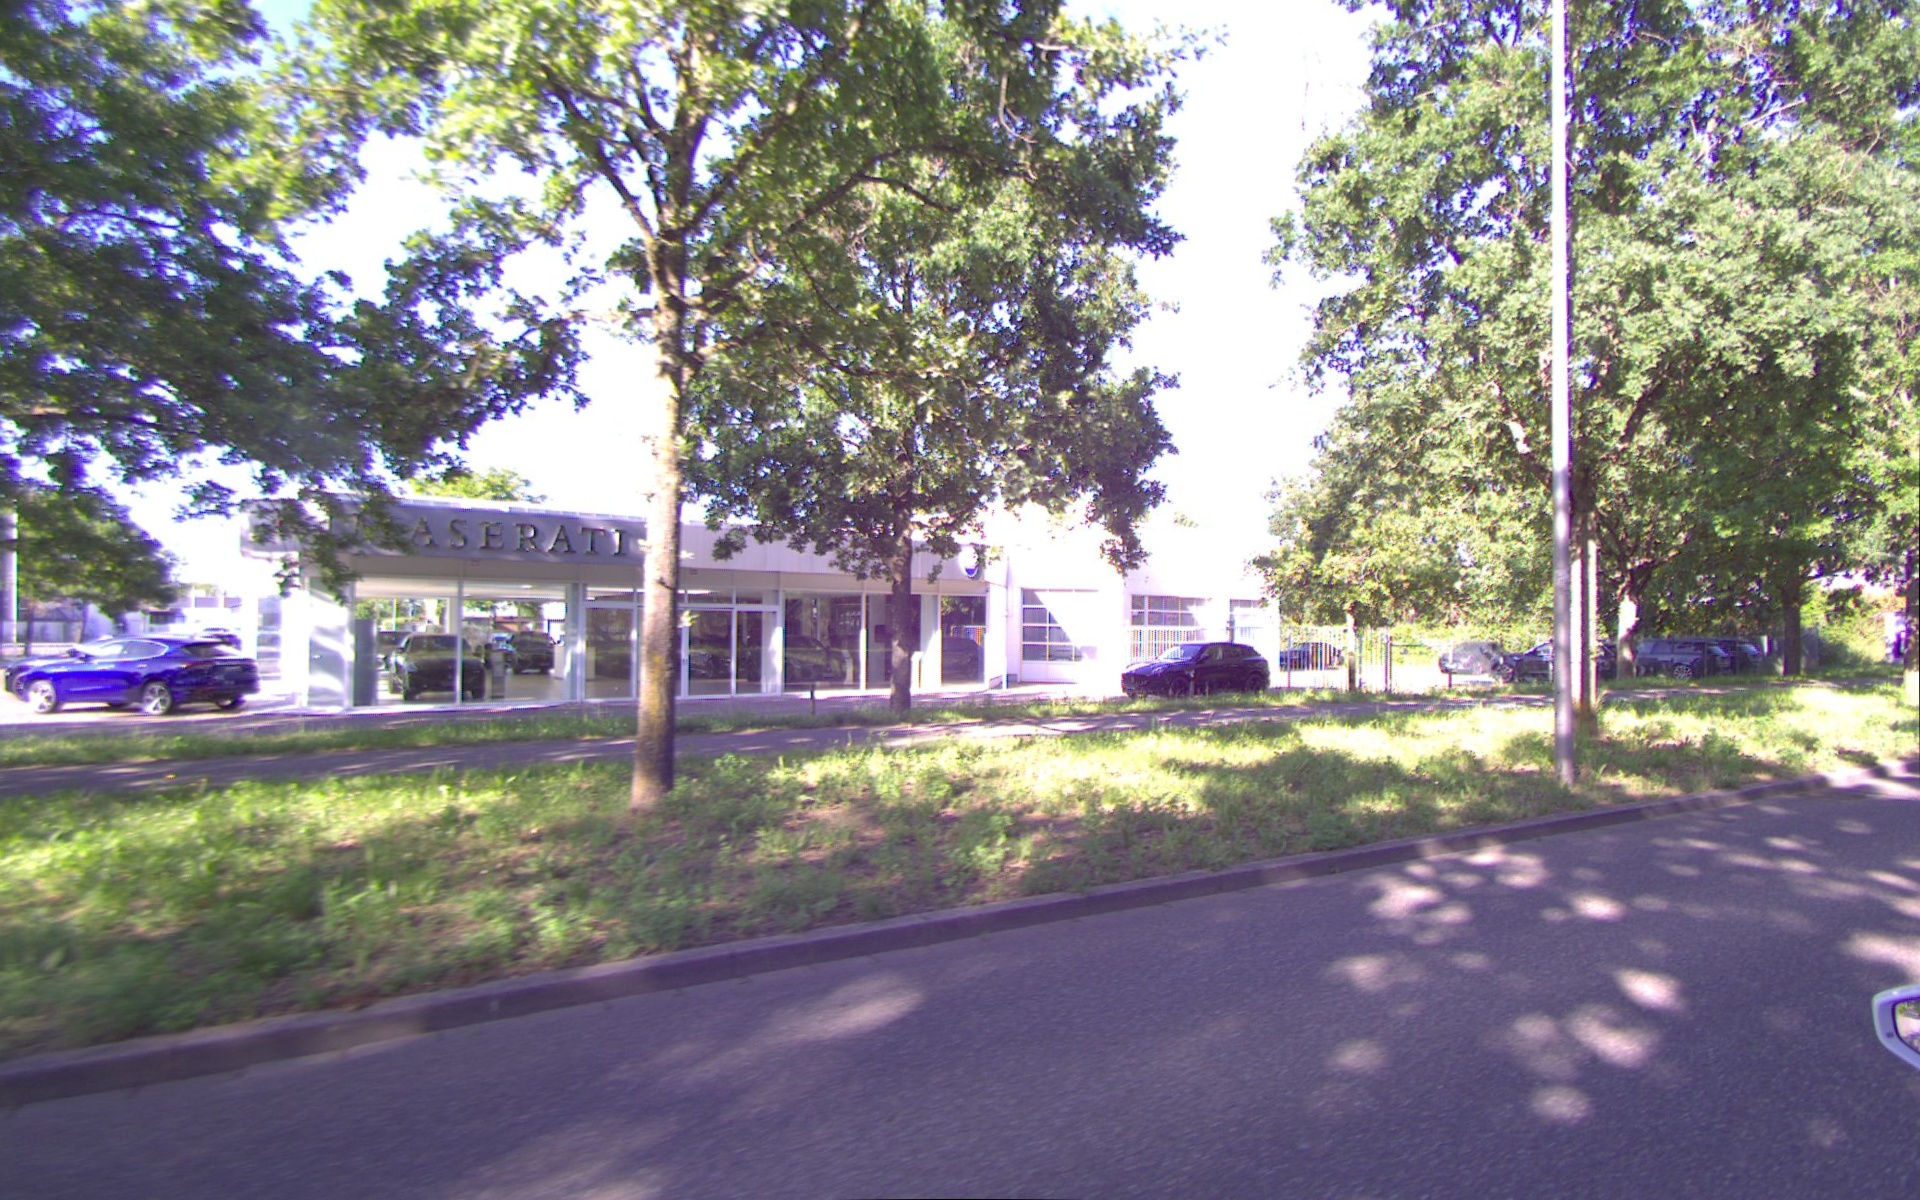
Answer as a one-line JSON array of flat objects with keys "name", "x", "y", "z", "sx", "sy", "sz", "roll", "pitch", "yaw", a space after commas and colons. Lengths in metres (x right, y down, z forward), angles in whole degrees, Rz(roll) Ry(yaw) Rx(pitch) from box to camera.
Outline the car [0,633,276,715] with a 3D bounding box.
[{"name": "car", "x": -18.548, "y": 1.613, "z": 22.719, "sx": 5.153, "sy": 1.683, "sz": 2.001, "roll": 0, "pitch": 0, "yaw": 10}]

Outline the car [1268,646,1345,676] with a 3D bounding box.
[{"name": "car", "x": 20.924, "y": 3.645, "z": 60.625, "sx": 4.839, "sy": 1.587, "sz": 1.979, "roll": 2, "pitch": 0, "yaw": -36}]

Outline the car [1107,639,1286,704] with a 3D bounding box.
[{"name": "car", "x": 6.733, "y": 1.967, "z": 28.465, "sx": 4.957, "sy": 1.619, "sz": 1.983, "roll": 2, "pitch": 0, "yaw": -31}]

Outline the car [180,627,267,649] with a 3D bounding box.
[{"name": "car", "x": -59.422, "y": 3.027, "z": 81.158, "sx": 5.359, "sy": 1.683, "sz": 1.987, "roll": 1, "pitch": 0, "yaw": -26}]

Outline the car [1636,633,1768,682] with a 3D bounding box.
[{"name": "car", "x": 31.939, "y": 2.444, "z": 43.324, "sx": 1.980, "sy": 1.825, "sz": 4.163, "roll": 1, "pitch": 0, "yaw": -34}]

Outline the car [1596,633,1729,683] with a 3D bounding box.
[{"name": "car", "x": 29.379, "y": 2.394, "z": 42.123, "sx": 1.980, "sy": 1.825, "sz": 4.163, "roll": 1, "pitch": 0, "yaw": -34}]

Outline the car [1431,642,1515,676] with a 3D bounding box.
[{"name": "car", "x": 26.890, "y": 3.033, "z": 52.584, "sx": 4.839, "sy": 1.587, "sz": 1.979, "roll": 2, "pitch": 0, "yaw": -36}]

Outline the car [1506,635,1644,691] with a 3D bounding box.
[{"name": "car", "x": 23.036, "y": 2.299, "z": 37.733, "sx": 1.981, "sy": 1.825, "sz": 3.958, "roll": 1, "pitch": 0, "yaw": -36}]

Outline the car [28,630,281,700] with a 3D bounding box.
[{"name": "car", "x": -20.915, "y": 1.670, "z": 26.246, "sx": 4.912, "sy": 1.683, "sz": 2.000, "roll": 0, "pitch": 0, "yaw": -2}]
